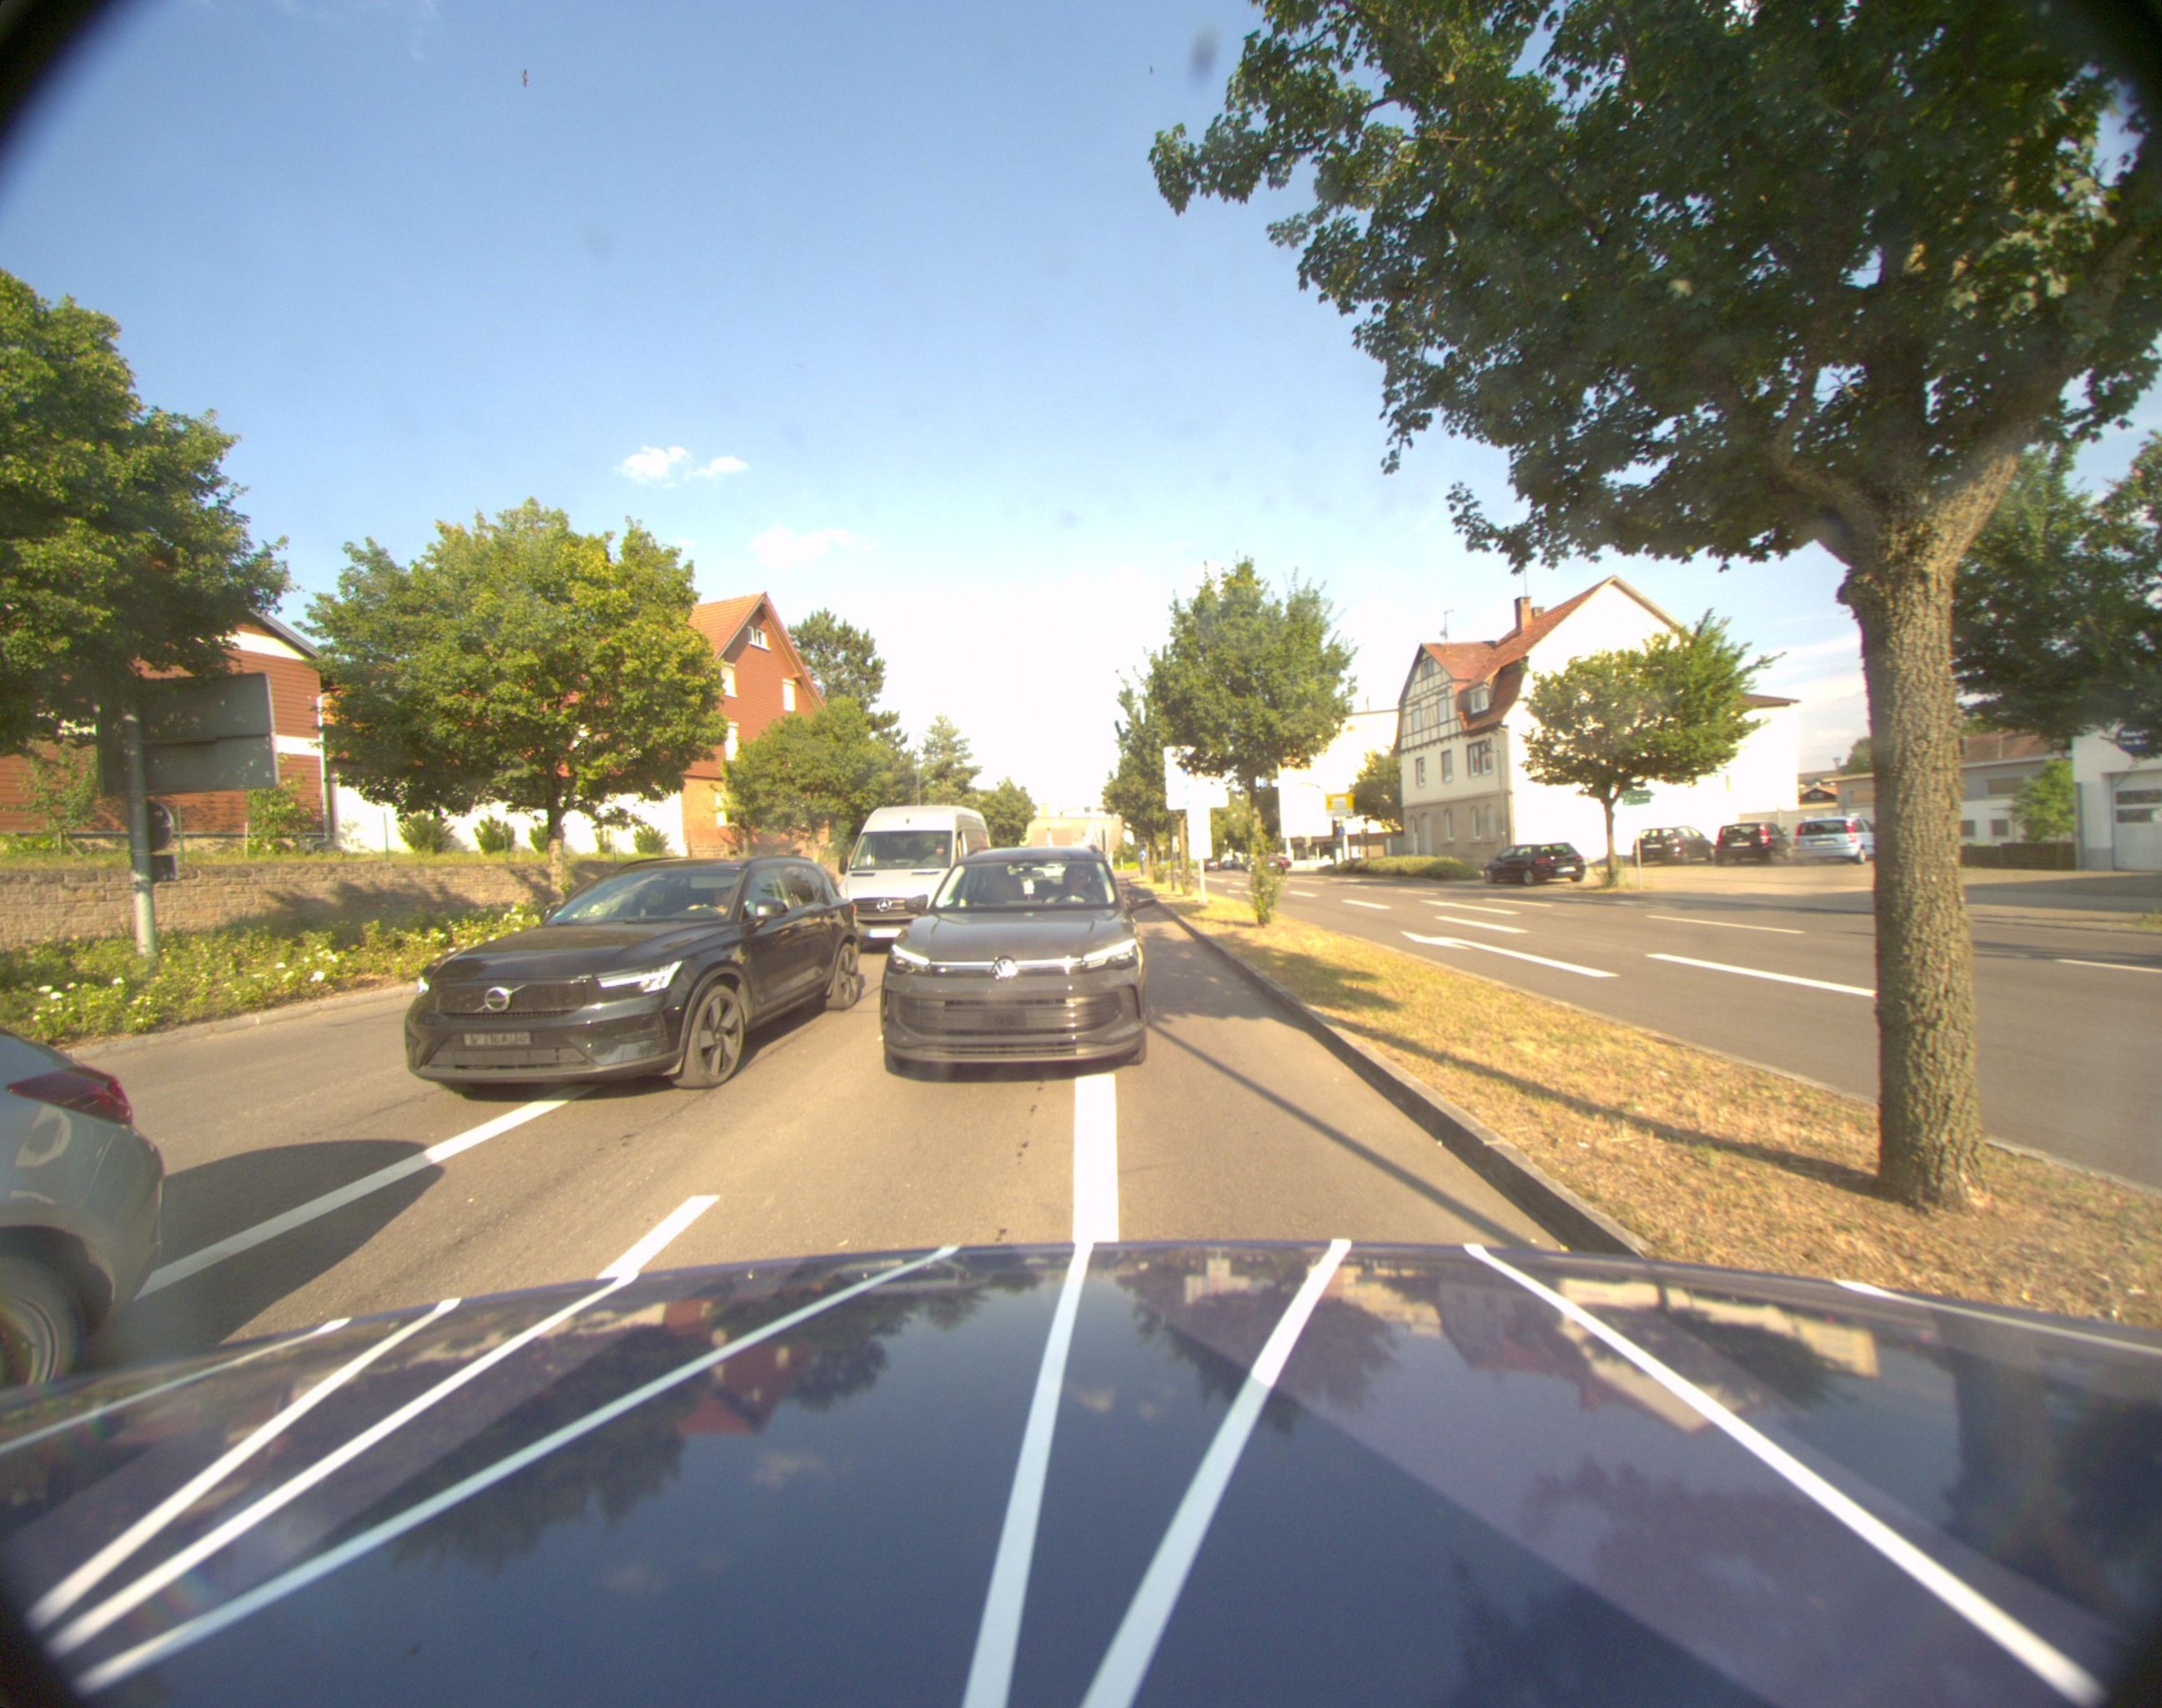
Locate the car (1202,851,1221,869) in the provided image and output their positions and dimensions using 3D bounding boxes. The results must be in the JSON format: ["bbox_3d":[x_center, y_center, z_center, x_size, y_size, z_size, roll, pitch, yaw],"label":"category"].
[{"bbox_3d":[13.570,0.612,79.021,1.780,1.683,4.003,-2,0,9],"label":"car"}]

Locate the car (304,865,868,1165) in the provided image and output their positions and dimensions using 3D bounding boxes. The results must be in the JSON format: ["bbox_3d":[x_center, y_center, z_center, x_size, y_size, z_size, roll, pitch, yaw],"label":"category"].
[{"bbox_3d":[-3.399,0.948,6.445,1.845,1.600,4.318,-1,0,2],"label":"car"}]

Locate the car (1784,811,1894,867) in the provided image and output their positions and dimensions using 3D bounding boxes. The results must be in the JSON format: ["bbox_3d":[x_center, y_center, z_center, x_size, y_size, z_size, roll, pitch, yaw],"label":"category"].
[{"bbox_3d":[24.879,-0.500,24.907,3.830,1.493,1.816,-5,0,-35],"label":"car"}]

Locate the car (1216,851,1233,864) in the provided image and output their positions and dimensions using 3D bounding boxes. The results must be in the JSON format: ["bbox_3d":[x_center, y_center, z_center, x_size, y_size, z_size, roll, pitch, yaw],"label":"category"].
[{"bbox_3d":[19.369,0.461,102.324,1.779,1.683,4.004,-2,0,16],"label":"car"}]

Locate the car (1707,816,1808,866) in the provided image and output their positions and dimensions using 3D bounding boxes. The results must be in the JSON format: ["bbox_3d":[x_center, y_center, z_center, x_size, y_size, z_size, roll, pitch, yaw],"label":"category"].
[{"bbox_3d":[24.657,-0.487,27.672,3.830,1.493,1.816,-5,0,-35],"label":"car"}]

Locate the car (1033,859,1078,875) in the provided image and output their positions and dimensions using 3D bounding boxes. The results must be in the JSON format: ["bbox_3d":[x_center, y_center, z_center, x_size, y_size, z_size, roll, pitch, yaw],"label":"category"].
[{"bbox_3d":[-2.654,1.349,79.126,4.363,1.460,1.786,-2,0,26],"label":"car"}]

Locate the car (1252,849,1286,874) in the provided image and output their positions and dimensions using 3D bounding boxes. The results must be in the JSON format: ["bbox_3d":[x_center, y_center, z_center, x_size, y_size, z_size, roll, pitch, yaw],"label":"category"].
[{"bbox_3d":[13.945,0.530,56.501,1.781,1.683,4.001,-2,0,4],"label":"car"}]

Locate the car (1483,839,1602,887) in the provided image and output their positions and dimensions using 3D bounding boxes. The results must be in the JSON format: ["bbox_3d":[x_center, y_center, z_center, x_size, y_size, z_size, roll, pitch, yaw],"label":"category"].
[{"bbox_3d":[16.033,0.283,26.634,1.818,1.442,3.825,-5,0,1],"label":"car"}]

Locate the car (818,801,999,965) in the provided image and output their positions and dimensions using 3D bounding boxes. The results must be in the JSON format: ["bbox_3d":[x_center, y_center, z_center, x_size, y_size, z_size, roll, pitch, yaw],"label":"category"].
[{"bbox_3d":[-3.037,0.447,14.973,1.992,2.554,6.046,-1,0,2],"label":"car"}]

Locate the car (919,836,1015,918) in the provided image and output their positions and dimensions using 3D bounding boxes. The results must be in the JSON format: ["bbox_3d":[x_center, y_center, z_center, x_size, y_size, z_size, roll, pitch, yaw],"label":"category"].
[{"bbox_3d":[-3.015,0.561,20.968,1.845,2.018,4.318,-1,0,2],"label":"car"}]

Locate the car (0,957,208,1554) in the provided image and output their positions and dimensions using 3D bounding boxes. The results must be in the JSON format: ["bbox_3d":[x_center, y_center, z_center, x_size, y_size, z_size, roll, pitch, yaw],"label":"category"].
[{"bbox_3d":[-3.612,1.062,0.197,1.766,1.445,4.318,-1,0,0],"label":"car"}]

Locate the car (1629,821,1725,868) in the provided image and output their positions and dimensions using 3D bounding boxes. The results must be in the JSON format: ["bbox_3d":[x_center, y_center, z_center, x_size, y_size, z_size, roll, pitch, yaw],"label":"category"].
[{"bbox_3d":[23.379,-0.389,29.769,3.830,1.493,1.816,-5,0,-35],"label":"car"}]

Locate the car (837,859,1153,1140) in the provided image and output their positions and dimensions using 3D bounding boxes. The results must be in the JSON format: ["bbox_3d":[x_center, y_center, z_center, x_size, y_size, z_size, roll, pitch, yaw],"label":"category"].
[{"bbox_3d":[-0.451,0.874,6.633,1.845,1.600,4.318,-1,0,2],"label":"car"}]

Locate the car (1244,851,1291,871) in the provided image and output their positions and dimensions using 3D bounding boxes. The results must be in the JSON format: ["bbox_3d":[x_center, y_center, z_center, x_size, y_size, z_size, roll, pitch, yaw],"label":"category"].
[{"bbox_3d":[17.039,0.625,69.623,3.994,1.664,1.788,-2,1,9],"label":"car"}]
